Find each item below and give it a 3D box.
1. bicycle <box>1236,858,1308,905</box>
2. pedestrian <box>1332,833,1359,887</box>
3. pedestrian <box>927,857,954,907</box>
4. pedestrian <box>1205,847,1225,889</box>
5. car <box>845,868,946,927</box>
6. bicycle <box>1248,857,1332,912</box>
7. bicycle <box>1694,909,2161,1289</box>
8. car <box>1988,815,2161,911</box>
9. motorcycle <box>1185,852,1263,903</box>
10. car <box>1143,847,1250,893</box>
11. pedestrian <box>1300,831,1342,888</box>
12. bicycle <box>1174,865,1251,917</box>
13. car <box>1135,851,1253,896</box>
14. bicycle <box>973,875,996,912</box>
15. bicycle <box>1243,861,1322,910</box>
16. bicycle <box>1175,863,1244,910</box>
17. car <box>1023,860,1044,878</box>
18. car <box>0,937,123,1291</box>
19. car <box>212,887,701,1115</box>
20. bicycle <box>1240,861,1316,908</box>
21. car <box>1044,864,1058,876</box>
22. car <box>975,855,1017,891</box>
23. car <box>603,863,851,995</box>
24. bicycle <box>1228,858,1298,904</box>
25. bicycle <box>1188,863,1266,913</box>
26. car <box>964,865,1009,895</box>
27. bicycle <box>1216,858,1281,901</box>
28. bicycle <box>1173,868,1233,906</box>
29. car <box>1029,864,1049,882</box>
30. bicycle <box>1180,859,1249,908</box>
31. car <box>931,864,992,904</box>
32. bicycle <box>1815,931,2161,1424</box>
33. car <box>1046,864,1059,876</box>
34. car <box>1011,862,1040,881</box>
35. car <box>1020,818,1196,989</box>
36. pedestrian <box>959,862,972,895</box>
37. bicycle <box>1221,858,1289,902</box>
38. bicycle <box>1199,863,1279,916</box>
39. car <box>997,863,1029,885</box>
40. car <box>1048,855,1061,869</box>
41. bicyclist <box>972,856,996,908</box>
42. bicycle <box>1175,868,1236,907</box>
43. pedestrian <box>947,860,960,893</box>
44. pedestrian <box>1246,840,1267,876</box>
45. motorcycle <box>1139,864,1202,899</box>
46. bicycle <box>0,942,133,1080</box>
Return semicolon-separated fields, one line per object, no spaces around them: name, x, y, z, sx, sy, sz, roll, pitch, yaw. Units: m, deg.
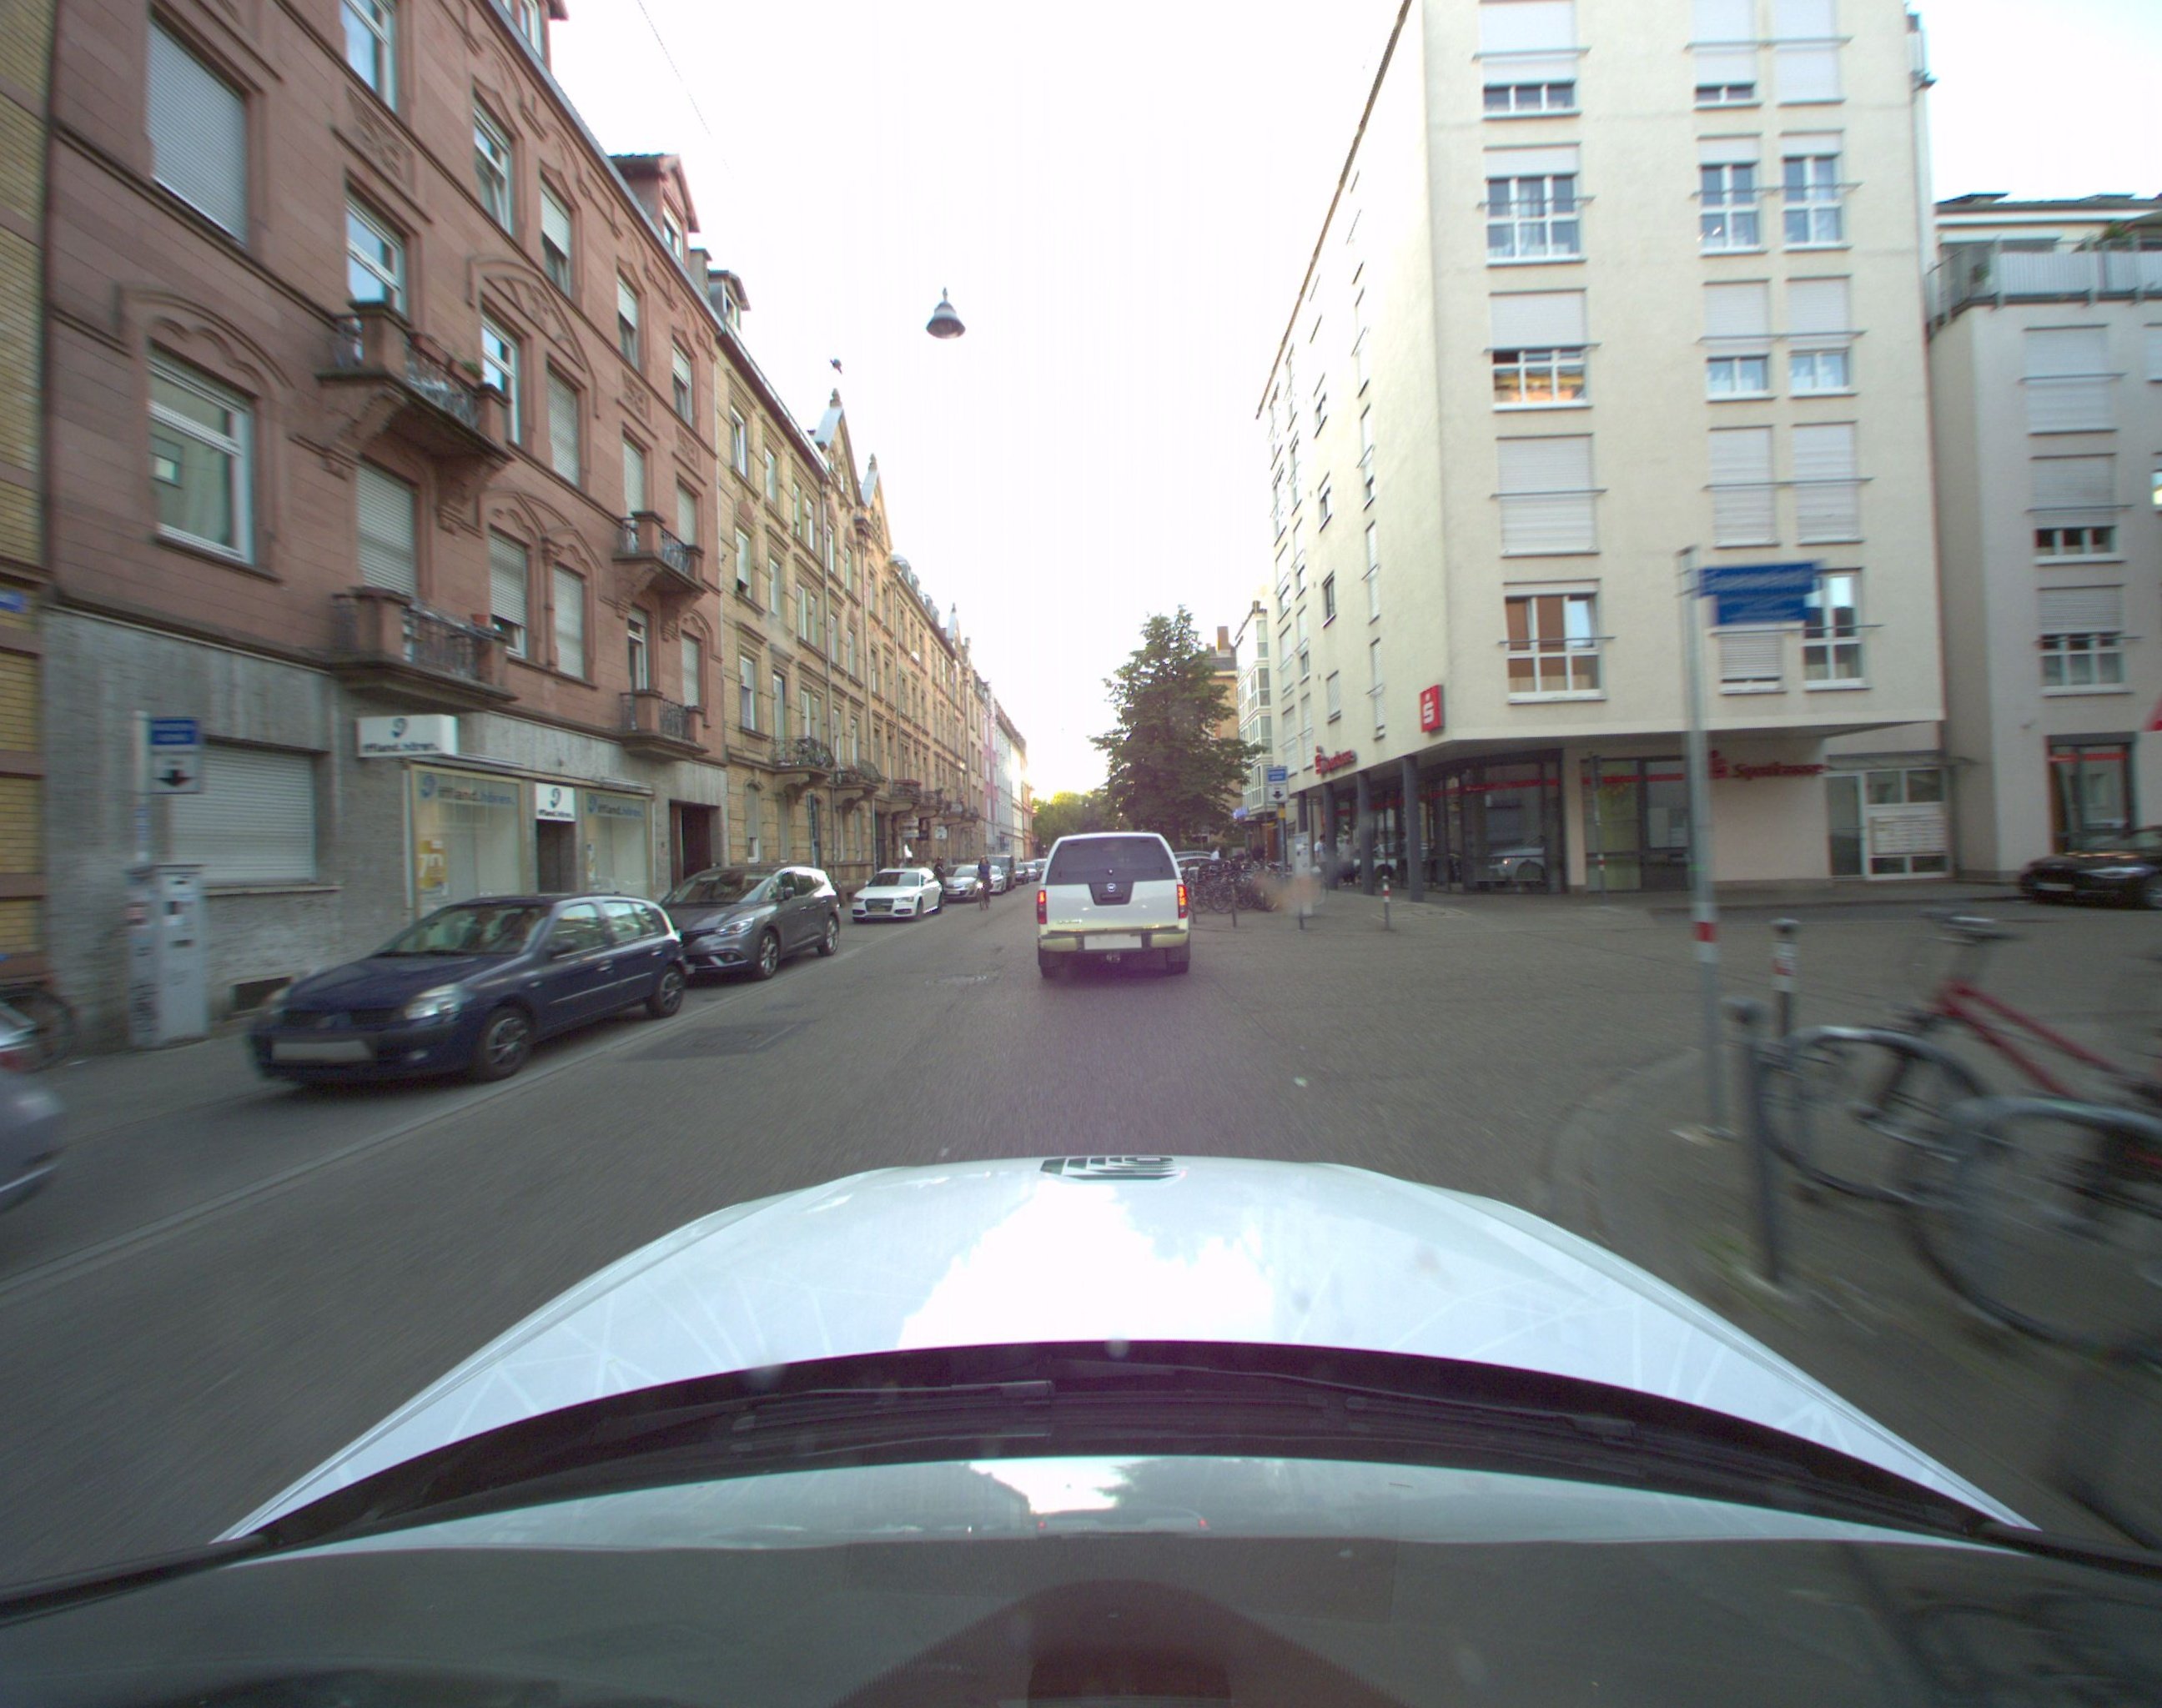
bicycle;5.070;0.738;21.716;1.715;1.118;0.654;-4;-1;4
pedestrian;8.752;0.196;26.948;0.656;1.723;0.667;-3;1;28
pedestrian;-5.036;0.989;29.228;0.550;1.755;1.026;-2;-2;14
pedestrian;5.707;0.605;34.585;0.625;1.753;0.585;-1;-2;-11
car;-5.156;1.150;23.244;1.752;1.412;4.509;-1;0;1
bicycle;4.836;0.704;18.863;1.723;1.132;0.576;-4;-1;-11
bicycle;3.461;0.805;2.928;1.919;1.134;0.661;-5;-2;38
car;18.809;0.077;13.992;4.212;1.433;1.796;-3;2;6
motorcycle;4.911;0.802;28.091;2.481;1.549;0.824;-5;-2;3
car;5.008;0.686;35.865;4.384;1.647;1.746;-4;-1;0
pedestrian;7.707;0.182;26.189;0.780;1.723;0.902;-5;1;-43
bicycle;3.236;0.908;20.158;1.717;1.118;0.706;-4;-1;-1
car;4.538;0.787;33.102;4.417;1.455;1.776;-4;-1;-6
bicycle;-3.142;1.256;26.491;0.644;1.081;2.162;-4;0;-8
bicycle;4.895;0.756;19.887;1.715;1.054;0.654;-4;-1;4
bicycle;3.755;0.947;23.949;1.860;1.182;0.744;-6;-2;5
car;-4.236;1.341;73.694;1.631;1.565;3.781;-1;-1;0
car;-5.374;1.086;1.508;1.716;1.421;4.582;-1;-1;1
car;-5.251;1.107;7.561;1.579;1.420;3.698;-1;0;2
bicycle;4.945;0.766;20.558;1.715;1.054;0.654;-4;-1;4
car;-3.745;1.990;102.038;1.694;1.426;4.019;0;-1;-2
car;-4.689;1.028;45.522;1.988;1.924;4.948;0;-1;-2
car;-5.221;0.991;12.787;1.846;1.633;4.446;-1;0;1
bicycle;4.974;0.735;22.287;1.715;1.118;0.654;-4;-1;4
bicycle;3.738;0.861;20.944;1.804;1.118;0.706;-4;-1;-1
car;-4.650;1.253;40.552;1.778;1.423;4.483;0;-1;-1
bicycle;4.948;0.744;24.091;1.718;1.118;0.653;-4;-1;-3
bicycle;3.880;1.045;25.939;1.765;1.022;0.565;-6;-2;3
car;-4.090;1.878;79.978;1.840;1.659;4.249;-2;-1;-2
bicycle;3.796;0.840;23.108;1.777;1.182;0.736;-6;-2;11
car;-4.759;1.151;32.874;1.710;1.457;4.002;-1;0;2
bicycle;3.163;0.787;1.988;1.919;1.134;0.661;-5;-2;38
car;-3.767;2.111;107.964;1.694;1.552;4.019;0;-1;-2
car;-4.319;1.372;63.955;1.827;1.458;4.207;1;-1;1
car;0.471;0.590;11.624;1.902;1.853;5.275;-1;-1;4
pedestrian;-6.431;1.365;45.331;0.604;1.772;0.776;1;0;-3
bicycle;4.987;0.750;23.369;1.718;1.118;0.653;-4;-1;-3
bicycle;3.717;0.829;19.294;1.715;1.118;0.707;-4;-1;4
car;-4.541;1.327;54.817;1.731;1.418;4.778;-1;-1;1
car;-3.784;1.104;116.124;1.807;1.977;4.181;0;-1;-3
bicyclist;-3.164;0.907;26.507;0.644;1.621;0.916;-4;-1;-8
bicycle;3.859;1.036;25.320;1.712;1.031;0.668;-6;-2;3
pedestrian;-7.040;1.225;45.114;0.578;1.772;0.996;1;0;-3
pedestrian;8.742;0.215;40.666;0.725;1.716;0.963;-4;-1;1
motorcycle;3.190;0.990;29.006;2.061;1.078;0.660;-4;-1;-15
bicycle;-8.972;1.317;6.557;0.447;1.022;1.848;1;-1;2
